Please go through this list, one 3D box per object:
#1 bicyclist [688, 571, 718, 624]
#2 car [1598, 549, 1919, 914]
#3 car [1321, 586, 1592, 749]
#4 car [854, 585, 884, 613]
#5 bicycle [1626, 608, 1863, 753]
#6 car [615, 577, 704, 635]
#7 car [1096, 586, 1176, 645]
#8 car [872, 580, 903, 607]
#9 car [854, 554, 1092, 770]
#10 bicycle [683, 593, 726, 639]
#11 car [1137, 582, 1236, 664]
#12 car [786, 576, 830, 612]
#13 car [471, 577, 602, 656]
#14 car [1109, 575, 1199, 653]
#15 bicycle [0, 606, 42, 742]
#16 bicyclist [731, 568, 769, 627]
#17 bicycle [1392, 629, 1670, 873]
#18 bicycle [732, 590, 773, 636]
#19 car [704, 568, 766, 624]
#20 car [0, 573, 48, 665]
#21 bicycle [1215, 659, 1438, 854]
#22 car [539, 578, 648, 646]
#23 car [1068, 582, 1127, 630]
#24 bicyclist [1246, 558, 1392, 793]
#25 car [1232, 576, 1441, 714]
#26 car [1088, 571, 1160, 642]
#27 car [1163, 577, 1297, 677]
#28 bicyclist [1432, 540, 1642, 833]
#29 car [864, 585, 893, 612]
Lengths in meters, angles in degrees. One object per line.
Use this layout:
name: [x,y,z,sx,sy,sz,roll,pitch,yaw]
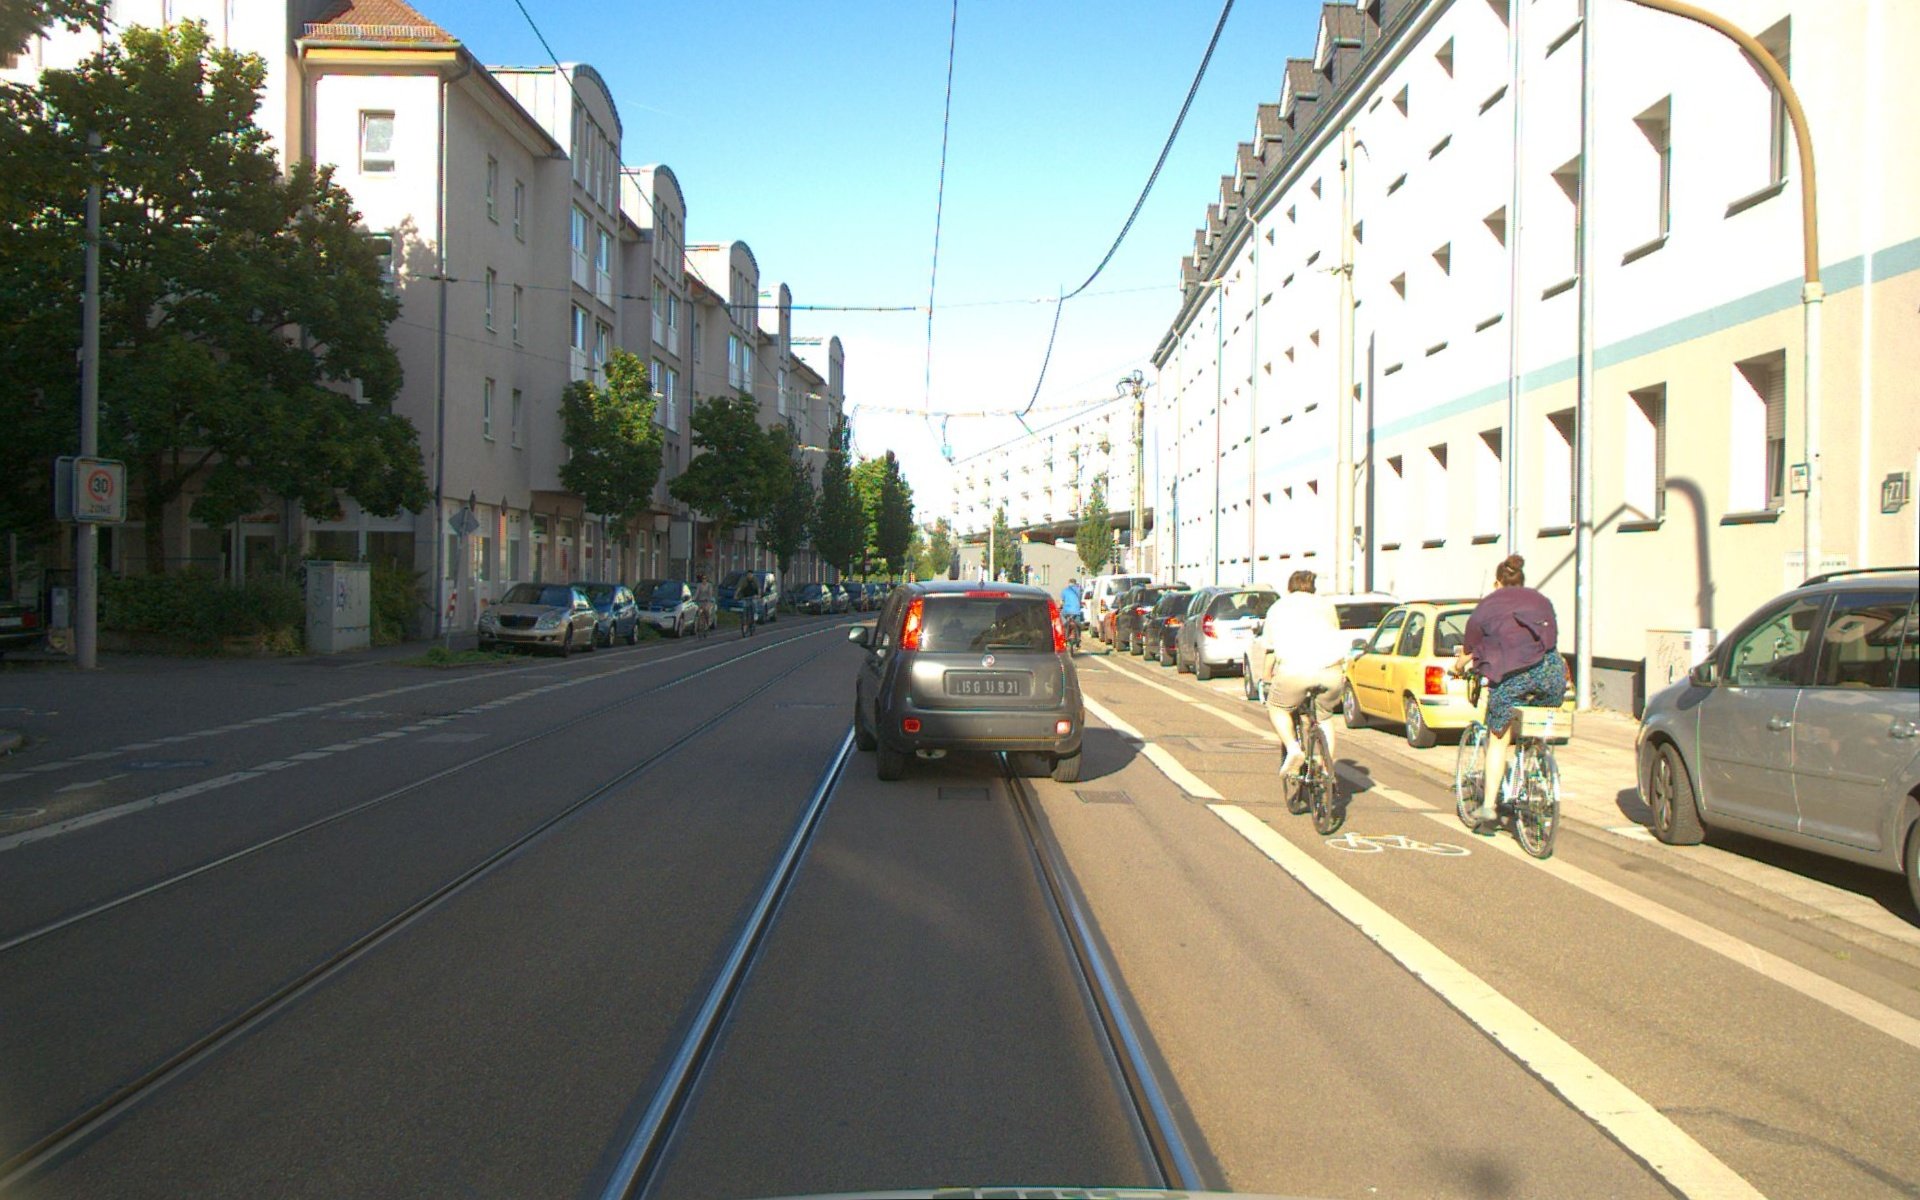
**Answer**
bicyclist: [-7.152,-0.076,46.098,0.610,1.404,0.868,-4,1,-1]
car: [5.234,0.580,8.702,1.720,1.694,4.623,-1,1,-4]
car: [5.077,0.609,17.480,1.483,1.455,4.200,-2,1,-1]
car: [-5.324,-0.084,96.804,1.559,1.567,3.191,0,1,0]
bicycle: [7.335,0.713,15.638,1.074,1.218,2.326,0,1,-2]
car: [-8.729,0.144,48.390,1.792,1.621,4.001,0,1,1]
car: [4.749,0.386,45.081,1.759,1.509,3.778,0,1,0]
car: [-4.663,-0.426,107.111,1.806,1.674,3.697,0,1,0]
car: [-0.009,0.478,13.782,1.527,1.560,3.480,0,-1,-7]
bicycle: [-7.131,0.431,46.317,0.822,1.169,2.232,-4,1,-1]
car: [4.701,0.435,34.796,1.559,1.564,4.008,-2,1,1]
car: [-7.172,-0.298,78.243,1.630,1.646,4.001,1,1,1]
car: [-8.743,0.295,34.466,1.709,1.468,3.999,3,1,-1]
car: [4.628,0.304,39.874,1.626,1.698,3.904,-3,1,0]
bicycle: [-8.775,0.599,13.859,1.838,1.103,0.595,0,0,1]
bicyclist: [-5.853,-0.081,46.146,0.864,1.588,0.868,-3,0,-1]
bicycle: [3.496,0.863,10.429,0.804,1.258,2.461,2,1,-2]
bicycle: [-5.812,0.348,46.406,0.822,1.169,2.232,-4,1,-1]
car: [-8.452,-0.160,62.456,1.630,2.021,4.343,1,1,1]
car: [-16.909,0.280,25.799,4.459,1.412,1.715,0,0,4]
bicycle: [2.331,0.953,10.946,0.724,0.940,2.835,3,1,-2]
car: [-8.844,0.251,40.261,1.792,1.515,3.999,-1,1,-1]
car: [5.022,0.187,61.024,1.806,1.674,4.549,0,1,0]
bicyclist: [2.366,0.475,11.012,0.713,1.487,1.020,1,0,-2]
car: [4.822,0.505,21.786,1.645,1.598,4.509,-1,1,-1]
car: [4.872,0.146,49.523,1.750,2.005,4.155,-1,1,0]
car: [4.759,0.425,29.596,1.718,1.598,3.904,-3,1,0]
bicyclist: [3.501,0.499,10.129,0.915,1.705,0.969,1,0,-2]
car: [-4.963,-0.096,100.977,1.559,1.567,3.191,0,1,0]
